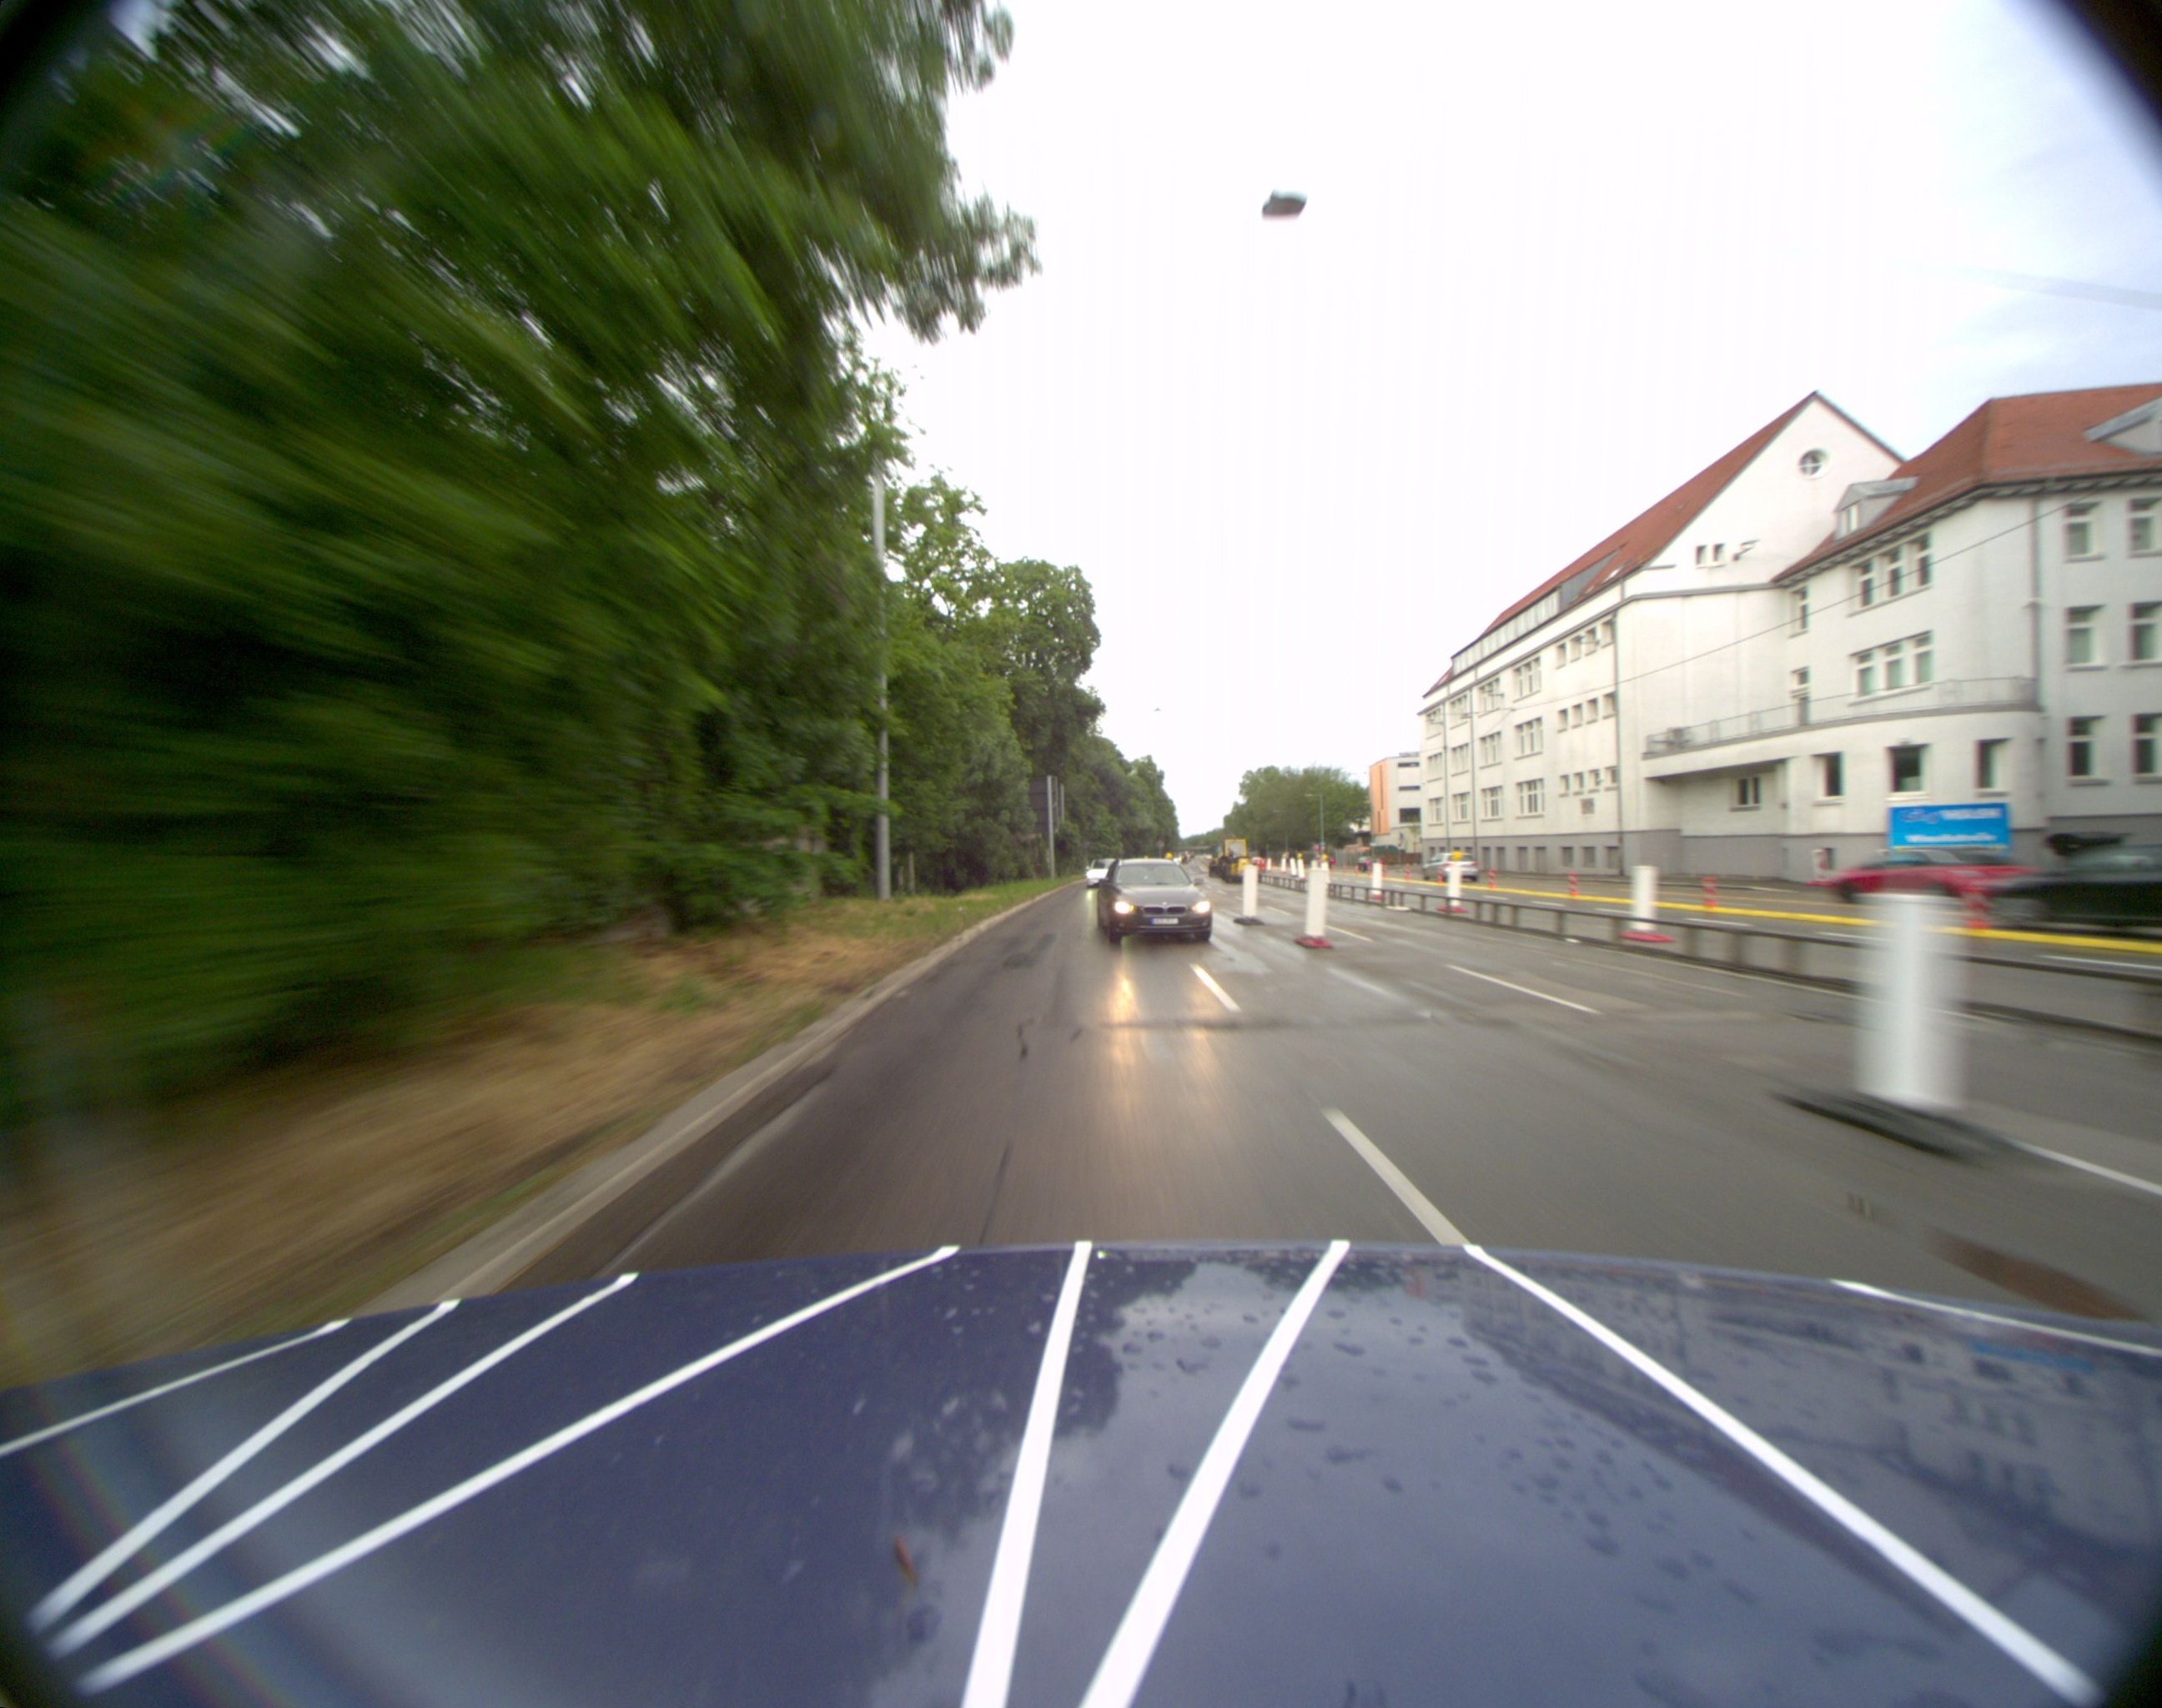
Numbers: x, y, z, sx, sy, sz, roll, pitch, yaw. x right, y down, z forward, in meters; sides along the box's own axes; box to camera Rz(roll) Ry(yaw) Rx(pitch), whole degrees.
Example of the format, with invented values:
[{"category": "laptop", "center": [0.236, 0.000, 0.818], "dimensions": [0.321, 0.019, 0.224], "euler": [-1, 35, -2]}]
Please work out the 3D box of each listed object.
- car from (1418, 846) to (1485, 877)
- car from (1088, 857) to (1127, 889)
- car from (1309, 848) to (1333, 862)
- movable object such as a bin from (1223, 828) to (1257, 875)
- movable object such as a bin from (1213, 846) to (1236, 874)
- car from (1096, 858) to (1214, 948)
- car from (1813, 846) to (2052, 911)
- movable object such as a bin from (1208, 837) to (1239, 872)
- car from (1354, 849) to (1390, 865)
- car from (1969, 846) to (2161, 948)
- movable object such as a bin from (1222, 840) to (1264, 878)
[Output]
[{"category": "car", "center": [18.856, 0.354, 38.858], "dimensions": [1.704, 1.456, 4.119], "euler": [1, 0, 5]}, {"category": "car", "center": [1.269, 0.890, 37.888], "dimensions": [1.839, 1.424, 4.272], "euler": [-1, 1, 0]}, {"category": "car", "center": [28.638, 0.111, 90.642], "dimensions": [1.997, 1.575, 4.213], "euler": [-1, 0, 7]}, {"category": "movable object such as a bin", "center": [10.154, -0.146, 48.737], "dimensions": [1.826, 2.895, 3.609], "euler": [0, 0, 6]}, {"category": "movable object such as a bin", "center": [10.873, 0.416, 57.663], "dimensions": [1.399, 2.032, 4.088], "euler": [-1, 0, 6]}, {"category": "car", "center": [1.260, 0.816, 14.576], "dimensions": [1.764, 1.441, 4.177], "euler": [-1, 0, -1]}, {"category": "car", "center": [20.389, 0.514, 18.466], "dimensions": [1.738, 1.406, 3.709], "euler": [-1, 1, 3]}, {"category": "movable object such as a bin", "center": [11.745, 0.038, 62.944], "dimensions": [2.125, 2.821, 4.480], "euler": [-1, 0, 6]}, {"category": "car", "center": [26.106, 0.250, 68.320], "dimensions": [1.862, 1.373, 4.001], "euler": [0, 0, 3]}, {"category": "car", "center": [15.843, 0.596, 10.894], "dimensions": [1.802, 1.379, 3.804], "euler": [-1, 1, 1]}, {"category": "movable object such as a bin", "center": [9.497, 0.285, 44.757], "dimensions": [1.997, 2.099, 3.851], "euler": [-1, 0, 6]}]
